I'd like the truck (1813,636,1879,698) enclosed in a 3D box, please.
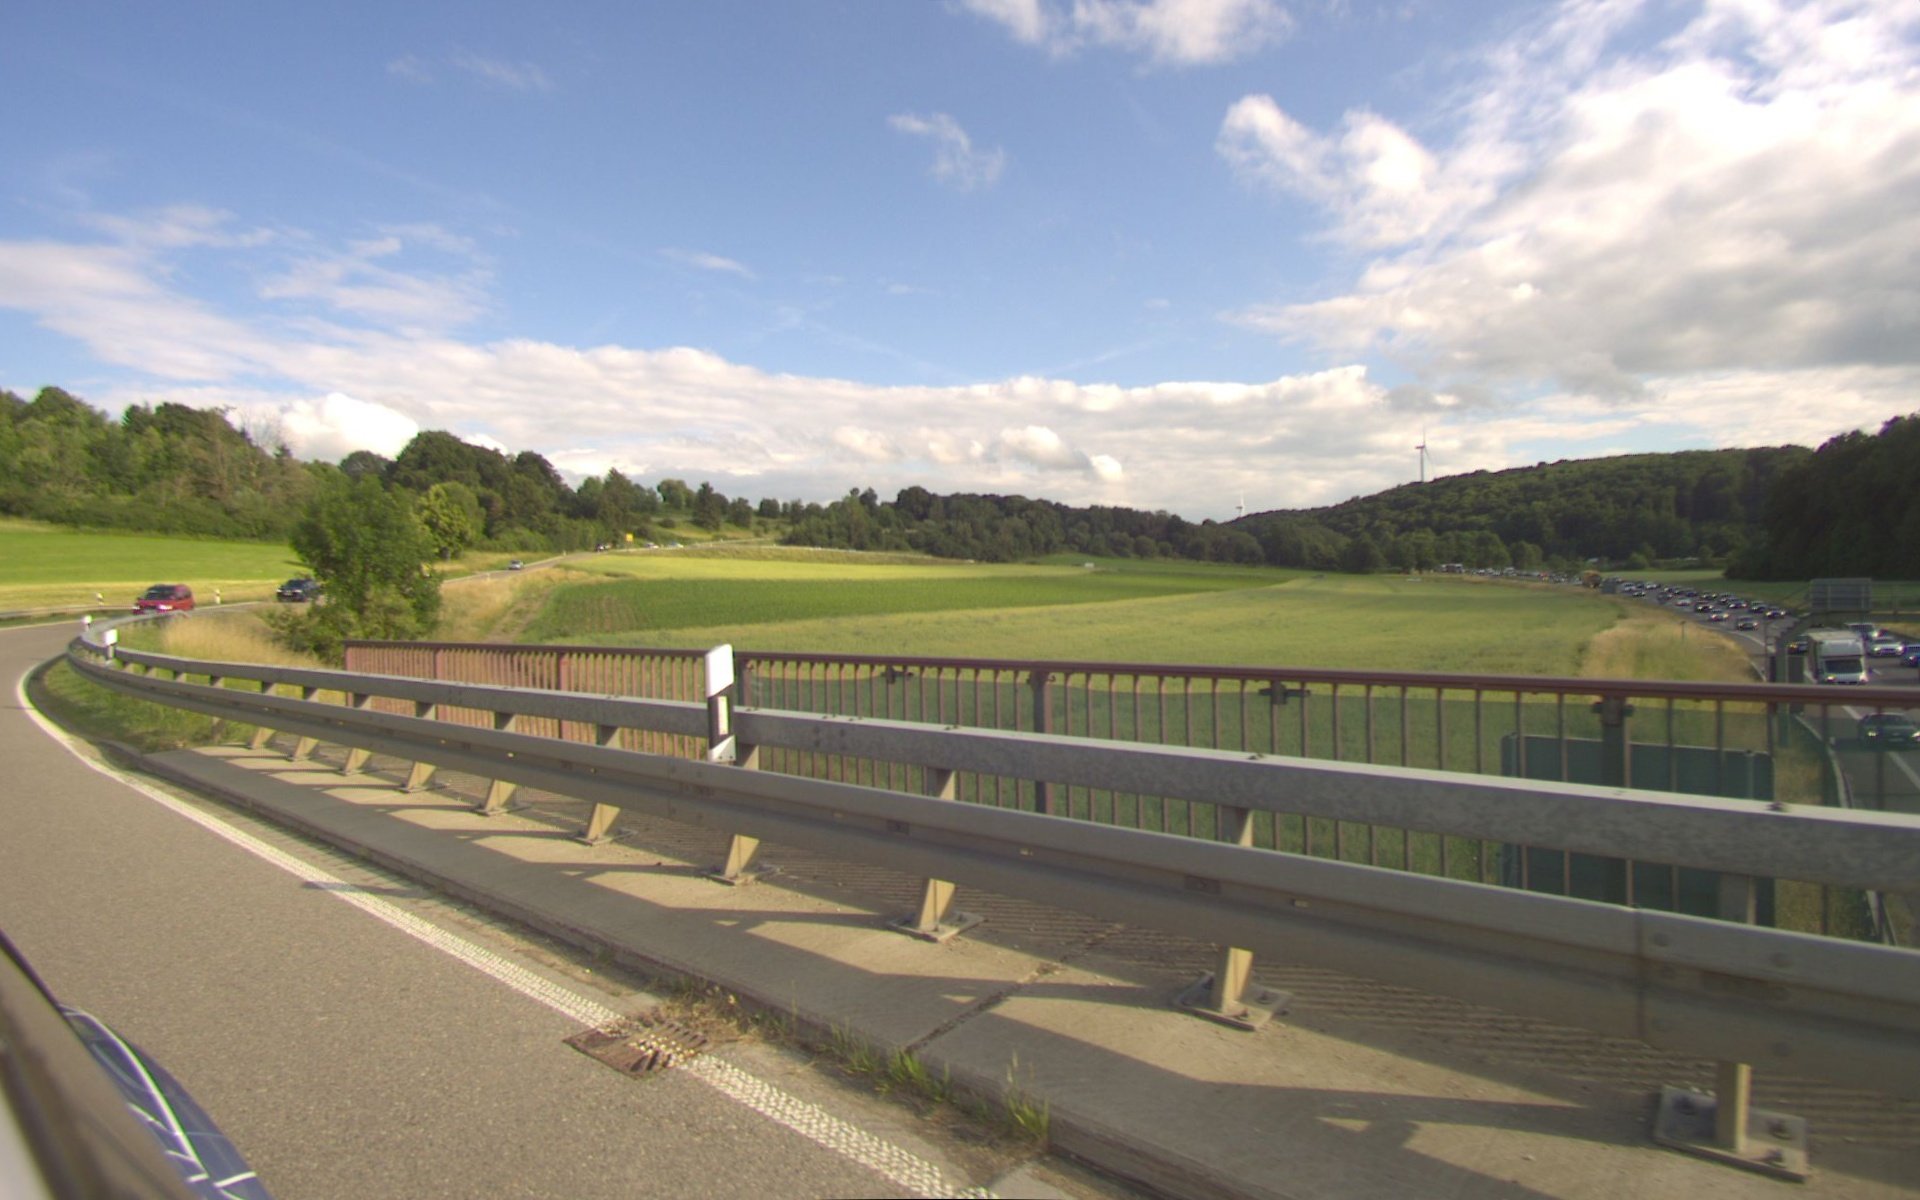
[{"bbox_3d":[54.776,4.013,62.701,2.119,3.431,8.394,0,-1,35],"label":"truck"}]

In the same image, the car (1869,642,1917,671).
[{"bbox_3d":[71.948,4.336,78.080,1.995,1.740,3.954,4,4,34],"label":"car"}]

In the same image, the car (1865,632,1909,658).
[{"bbox_3d":[76.833,3.740,83.897,1.995,1.740,3.954,4,4,34],"label":"car"}]

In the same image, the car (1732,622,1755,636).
[{"bbox_3d":[88.966,3.283,114.907,1.824,1.453,3.953,0,1,35],"label":"car"}]

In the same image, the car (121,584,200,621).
[{"bbox_3d":[-41.977,0.093,53.243,1.791,1.667,4.012,-2,3,-15],"label":"car"}]

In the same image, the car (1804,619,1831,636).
[{"bbox_3d":[93.575,2.964,110.457,1.798,1.599,3.954,0,2,34],"label":"car"}]

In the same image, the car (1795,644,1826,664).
[{"bbox_3d":[70.743,4.503,84.237,1.713,1.342,3.951,0,1,37],"label":"car"}]

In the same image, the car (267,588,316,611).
[{"bbox_3d":[-49.881,-0.068,75.622,1.792,1.623,4.011,1,1,-14],"label":"car"}]

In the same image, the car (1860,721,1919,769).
[{"bbox_3d":[39.728,6.112,42.873,1.986,1.727,3.951,0,-4,36],"label":"car"}]
